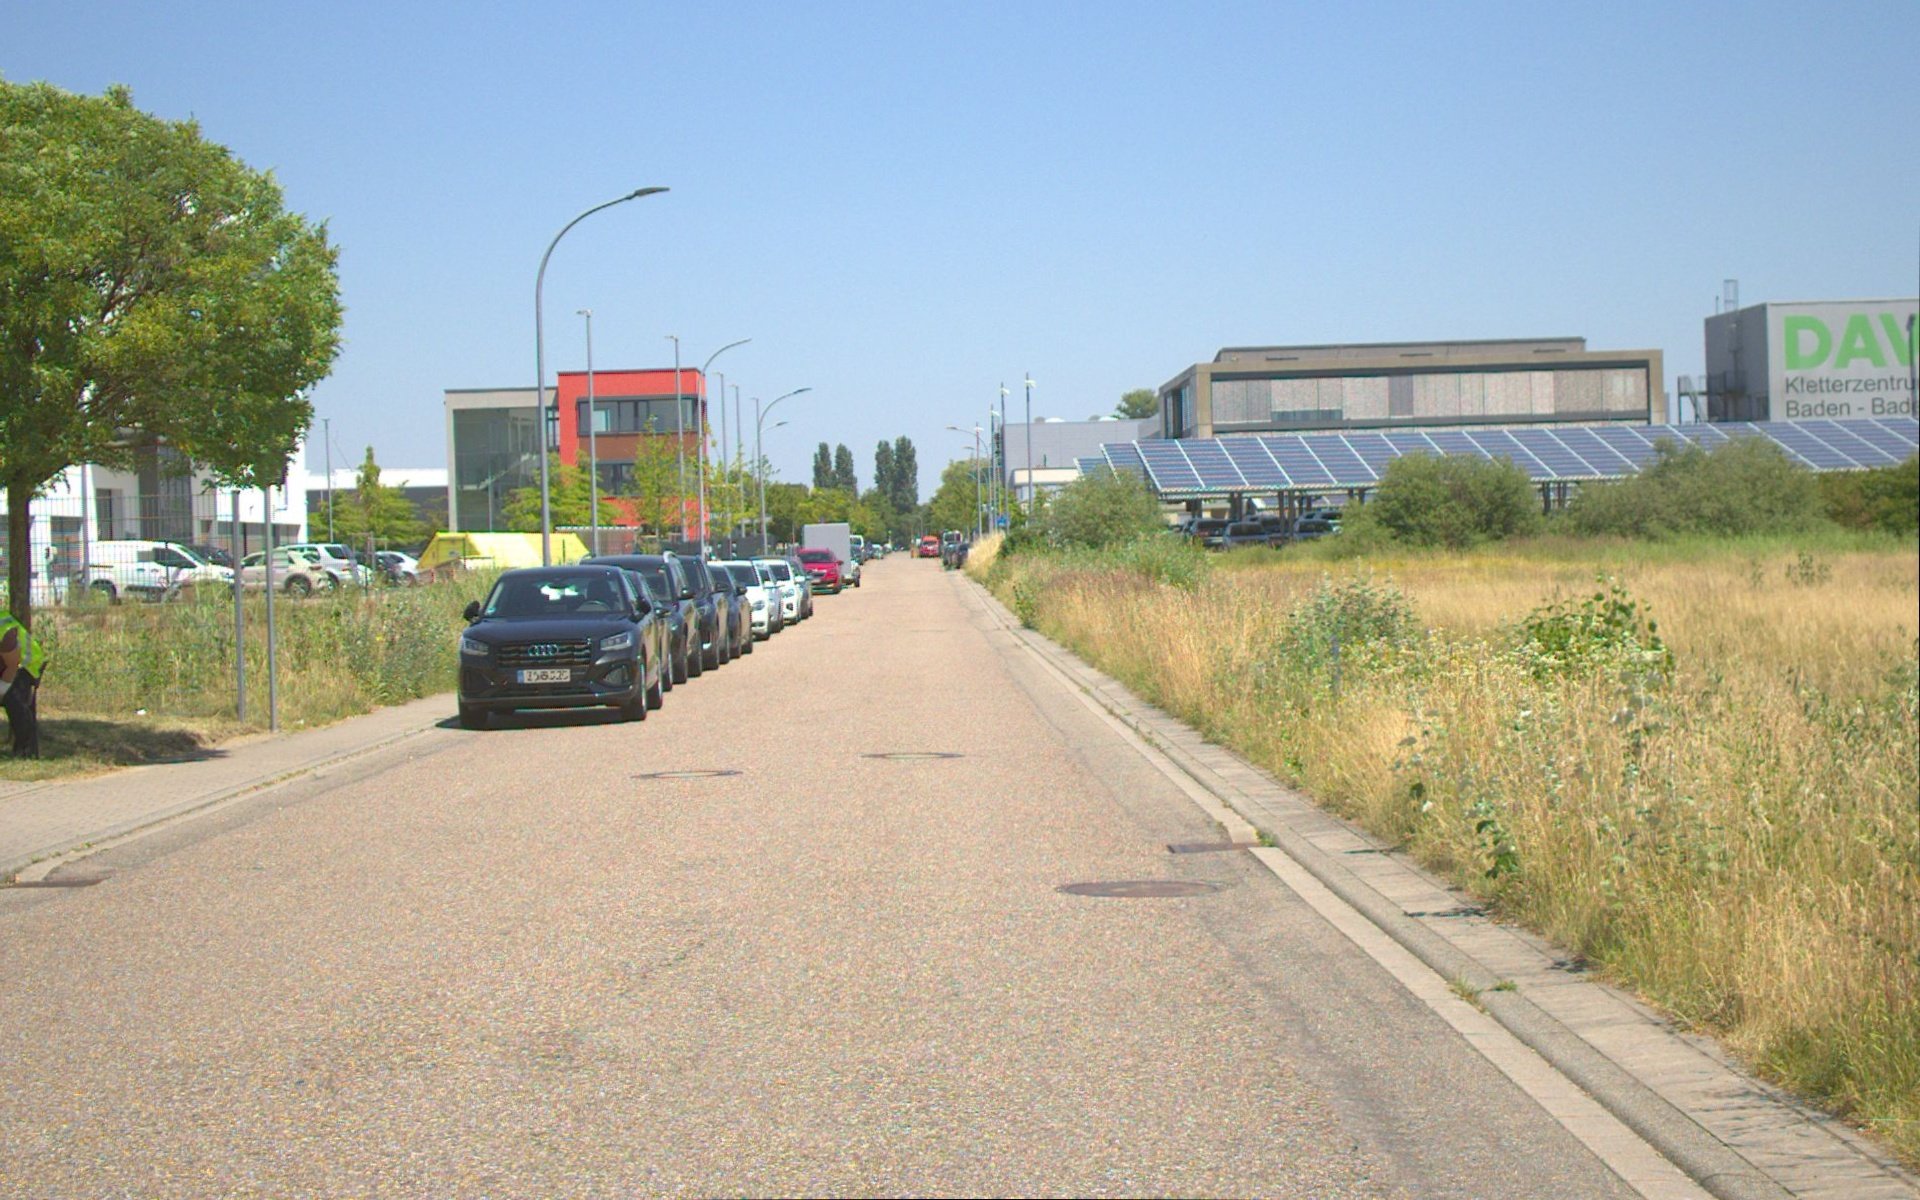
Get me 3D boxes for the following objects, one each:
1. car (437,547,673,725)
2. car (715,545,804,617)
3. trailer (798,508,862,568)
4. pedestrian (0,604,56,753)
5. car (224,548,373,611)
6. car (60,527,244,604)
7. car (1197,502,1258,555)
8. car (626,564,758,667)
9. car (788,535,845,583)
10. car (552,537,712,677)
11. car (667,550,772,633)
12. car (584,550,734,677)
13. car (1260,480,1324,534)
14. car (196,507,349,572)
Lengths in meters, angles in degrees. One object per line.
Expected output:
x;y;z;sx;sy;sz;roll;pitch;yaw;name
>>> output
-3.962;0.304;34.260;1.926;1.562;4.190;-2;1;-2;car
-4.555;-0.457;78.556;1.787;1.515;3.983;-2;1;-1;car
-4.827;-2.306;128.166;2.201;2.130;4.286;-2;1;-1;trailer
-7.371;0.588;26.200;0.750;1.095;0.646;1;1;3;pedestrian
-22.152;-0.706;115.177;4.528;1.936;2.031;-2;1;0;car
-22.251;-0.947;94.759;4.528;1.936;2.031;-2;1;0;car
10.553;-2.820;135.754;1.993;2.007;4.000;-2;1;-1;car
-4.327;0.220;56.165;1.768;1.480;5.015;-2;1;-1;car
-4.849;-1.401;116.673;1.787;1.515;3.983;-2;1;-1;car
-4.244;0.050;44.944;1.677;1.657;4.236;-2;1;-1;car
-4.674;-0.189;67.296;1.787;1.515;3.983;-2;1;-1;car
-4.334;0.151;50.061;1.768;1.657;4.552;-2;1;-1;car
13.104;-3.654;135.829;1.993;2.007;4.000;-2;1;-1;car
-22.357;-1.963;111.909;4.528;1.936;2.031;-2;1;0;car
